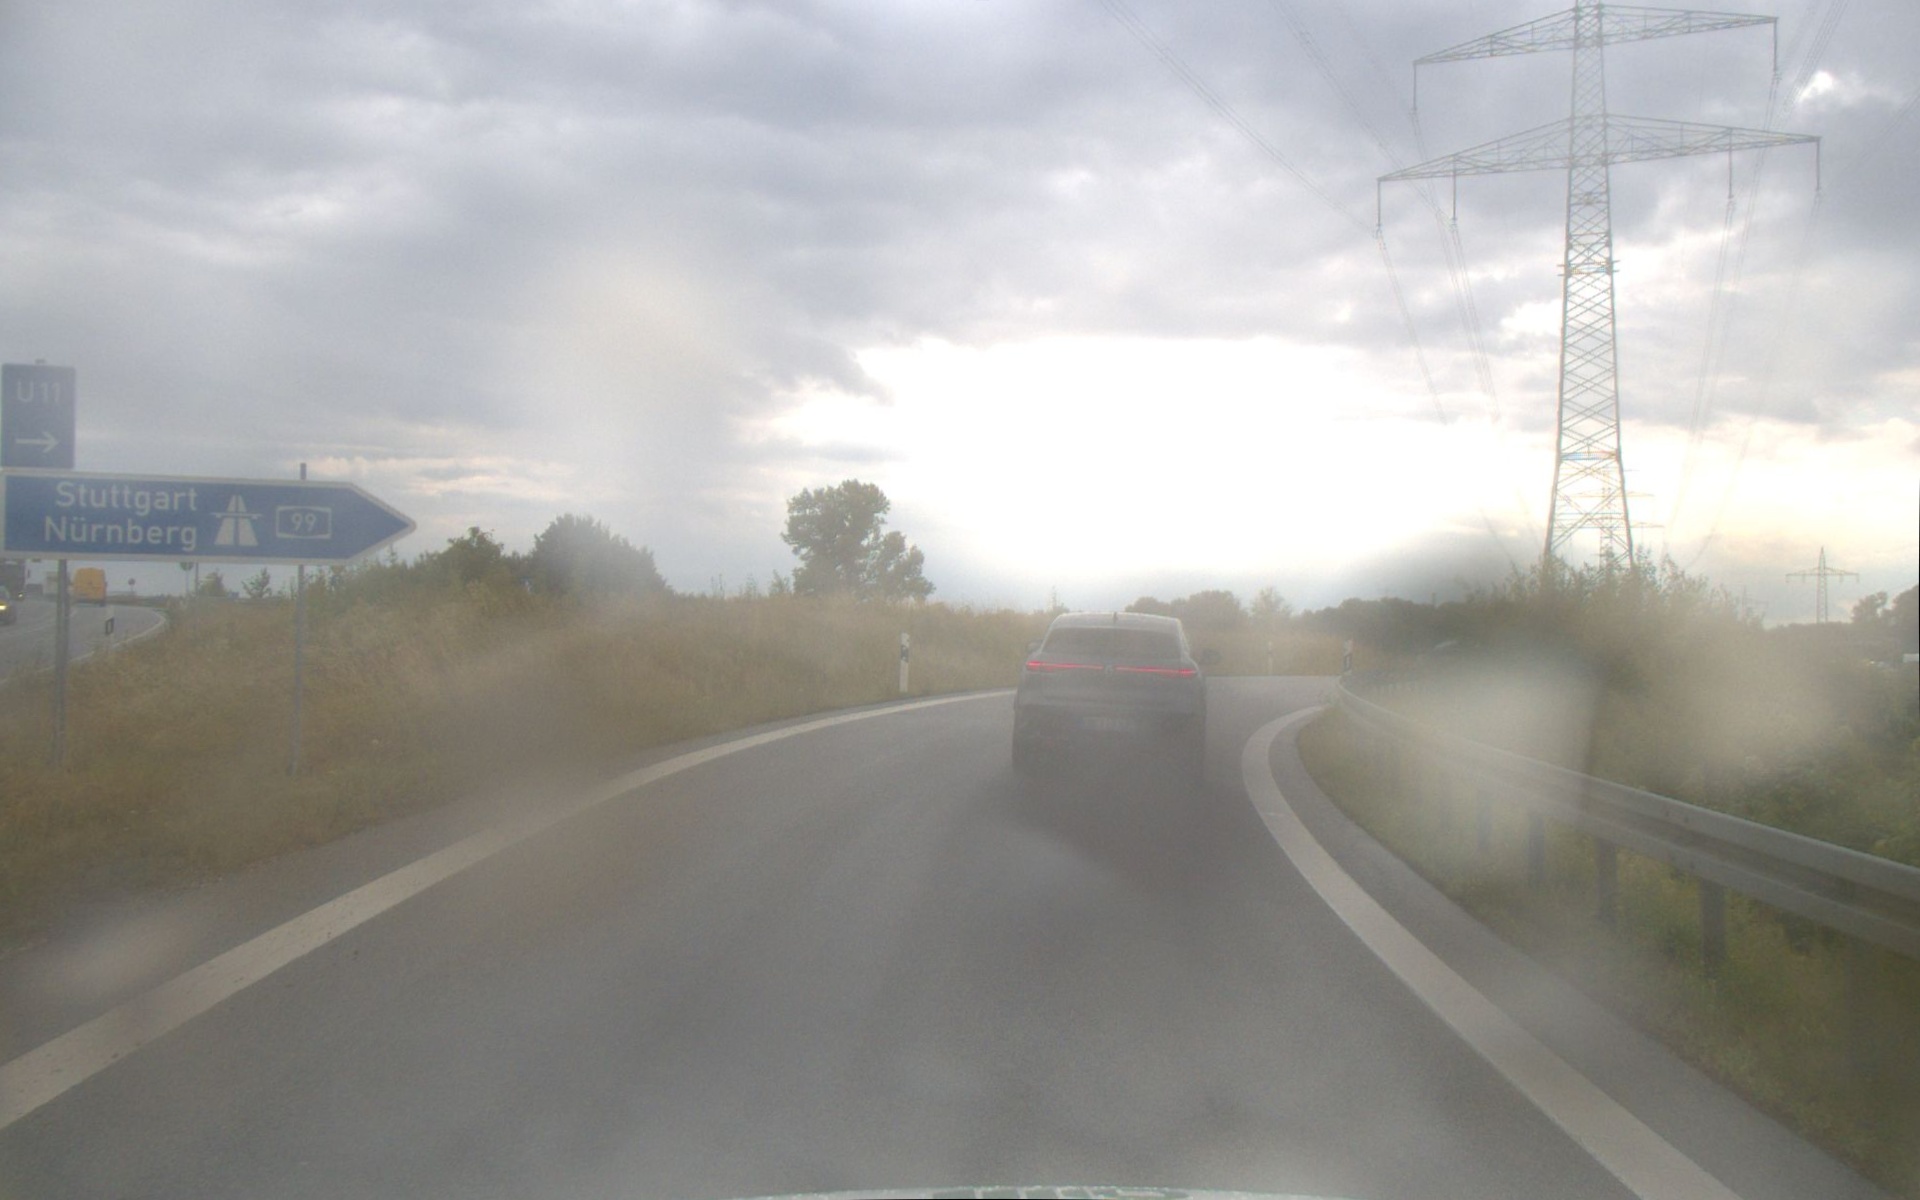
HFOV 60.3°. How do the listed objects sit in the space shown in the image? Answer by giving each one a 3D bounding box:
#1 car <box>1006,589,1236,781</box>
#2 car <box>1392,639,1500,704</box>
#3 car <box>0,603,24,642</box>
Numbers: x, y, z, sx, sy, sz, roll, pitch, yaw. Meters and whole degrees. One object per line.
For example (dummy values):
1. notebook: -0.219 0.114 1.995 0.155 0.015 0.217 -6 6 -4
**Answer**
1. car: 1.710 0.750 16.597 1.951 1.594 4.152 2 0 8
2. car: 16.311 2.384 55.337 2.083 2.054 5.520 0 -2 32
3. car: -36.146 0.822 62.119 1.457 1.373 3.684 2 0 -26
